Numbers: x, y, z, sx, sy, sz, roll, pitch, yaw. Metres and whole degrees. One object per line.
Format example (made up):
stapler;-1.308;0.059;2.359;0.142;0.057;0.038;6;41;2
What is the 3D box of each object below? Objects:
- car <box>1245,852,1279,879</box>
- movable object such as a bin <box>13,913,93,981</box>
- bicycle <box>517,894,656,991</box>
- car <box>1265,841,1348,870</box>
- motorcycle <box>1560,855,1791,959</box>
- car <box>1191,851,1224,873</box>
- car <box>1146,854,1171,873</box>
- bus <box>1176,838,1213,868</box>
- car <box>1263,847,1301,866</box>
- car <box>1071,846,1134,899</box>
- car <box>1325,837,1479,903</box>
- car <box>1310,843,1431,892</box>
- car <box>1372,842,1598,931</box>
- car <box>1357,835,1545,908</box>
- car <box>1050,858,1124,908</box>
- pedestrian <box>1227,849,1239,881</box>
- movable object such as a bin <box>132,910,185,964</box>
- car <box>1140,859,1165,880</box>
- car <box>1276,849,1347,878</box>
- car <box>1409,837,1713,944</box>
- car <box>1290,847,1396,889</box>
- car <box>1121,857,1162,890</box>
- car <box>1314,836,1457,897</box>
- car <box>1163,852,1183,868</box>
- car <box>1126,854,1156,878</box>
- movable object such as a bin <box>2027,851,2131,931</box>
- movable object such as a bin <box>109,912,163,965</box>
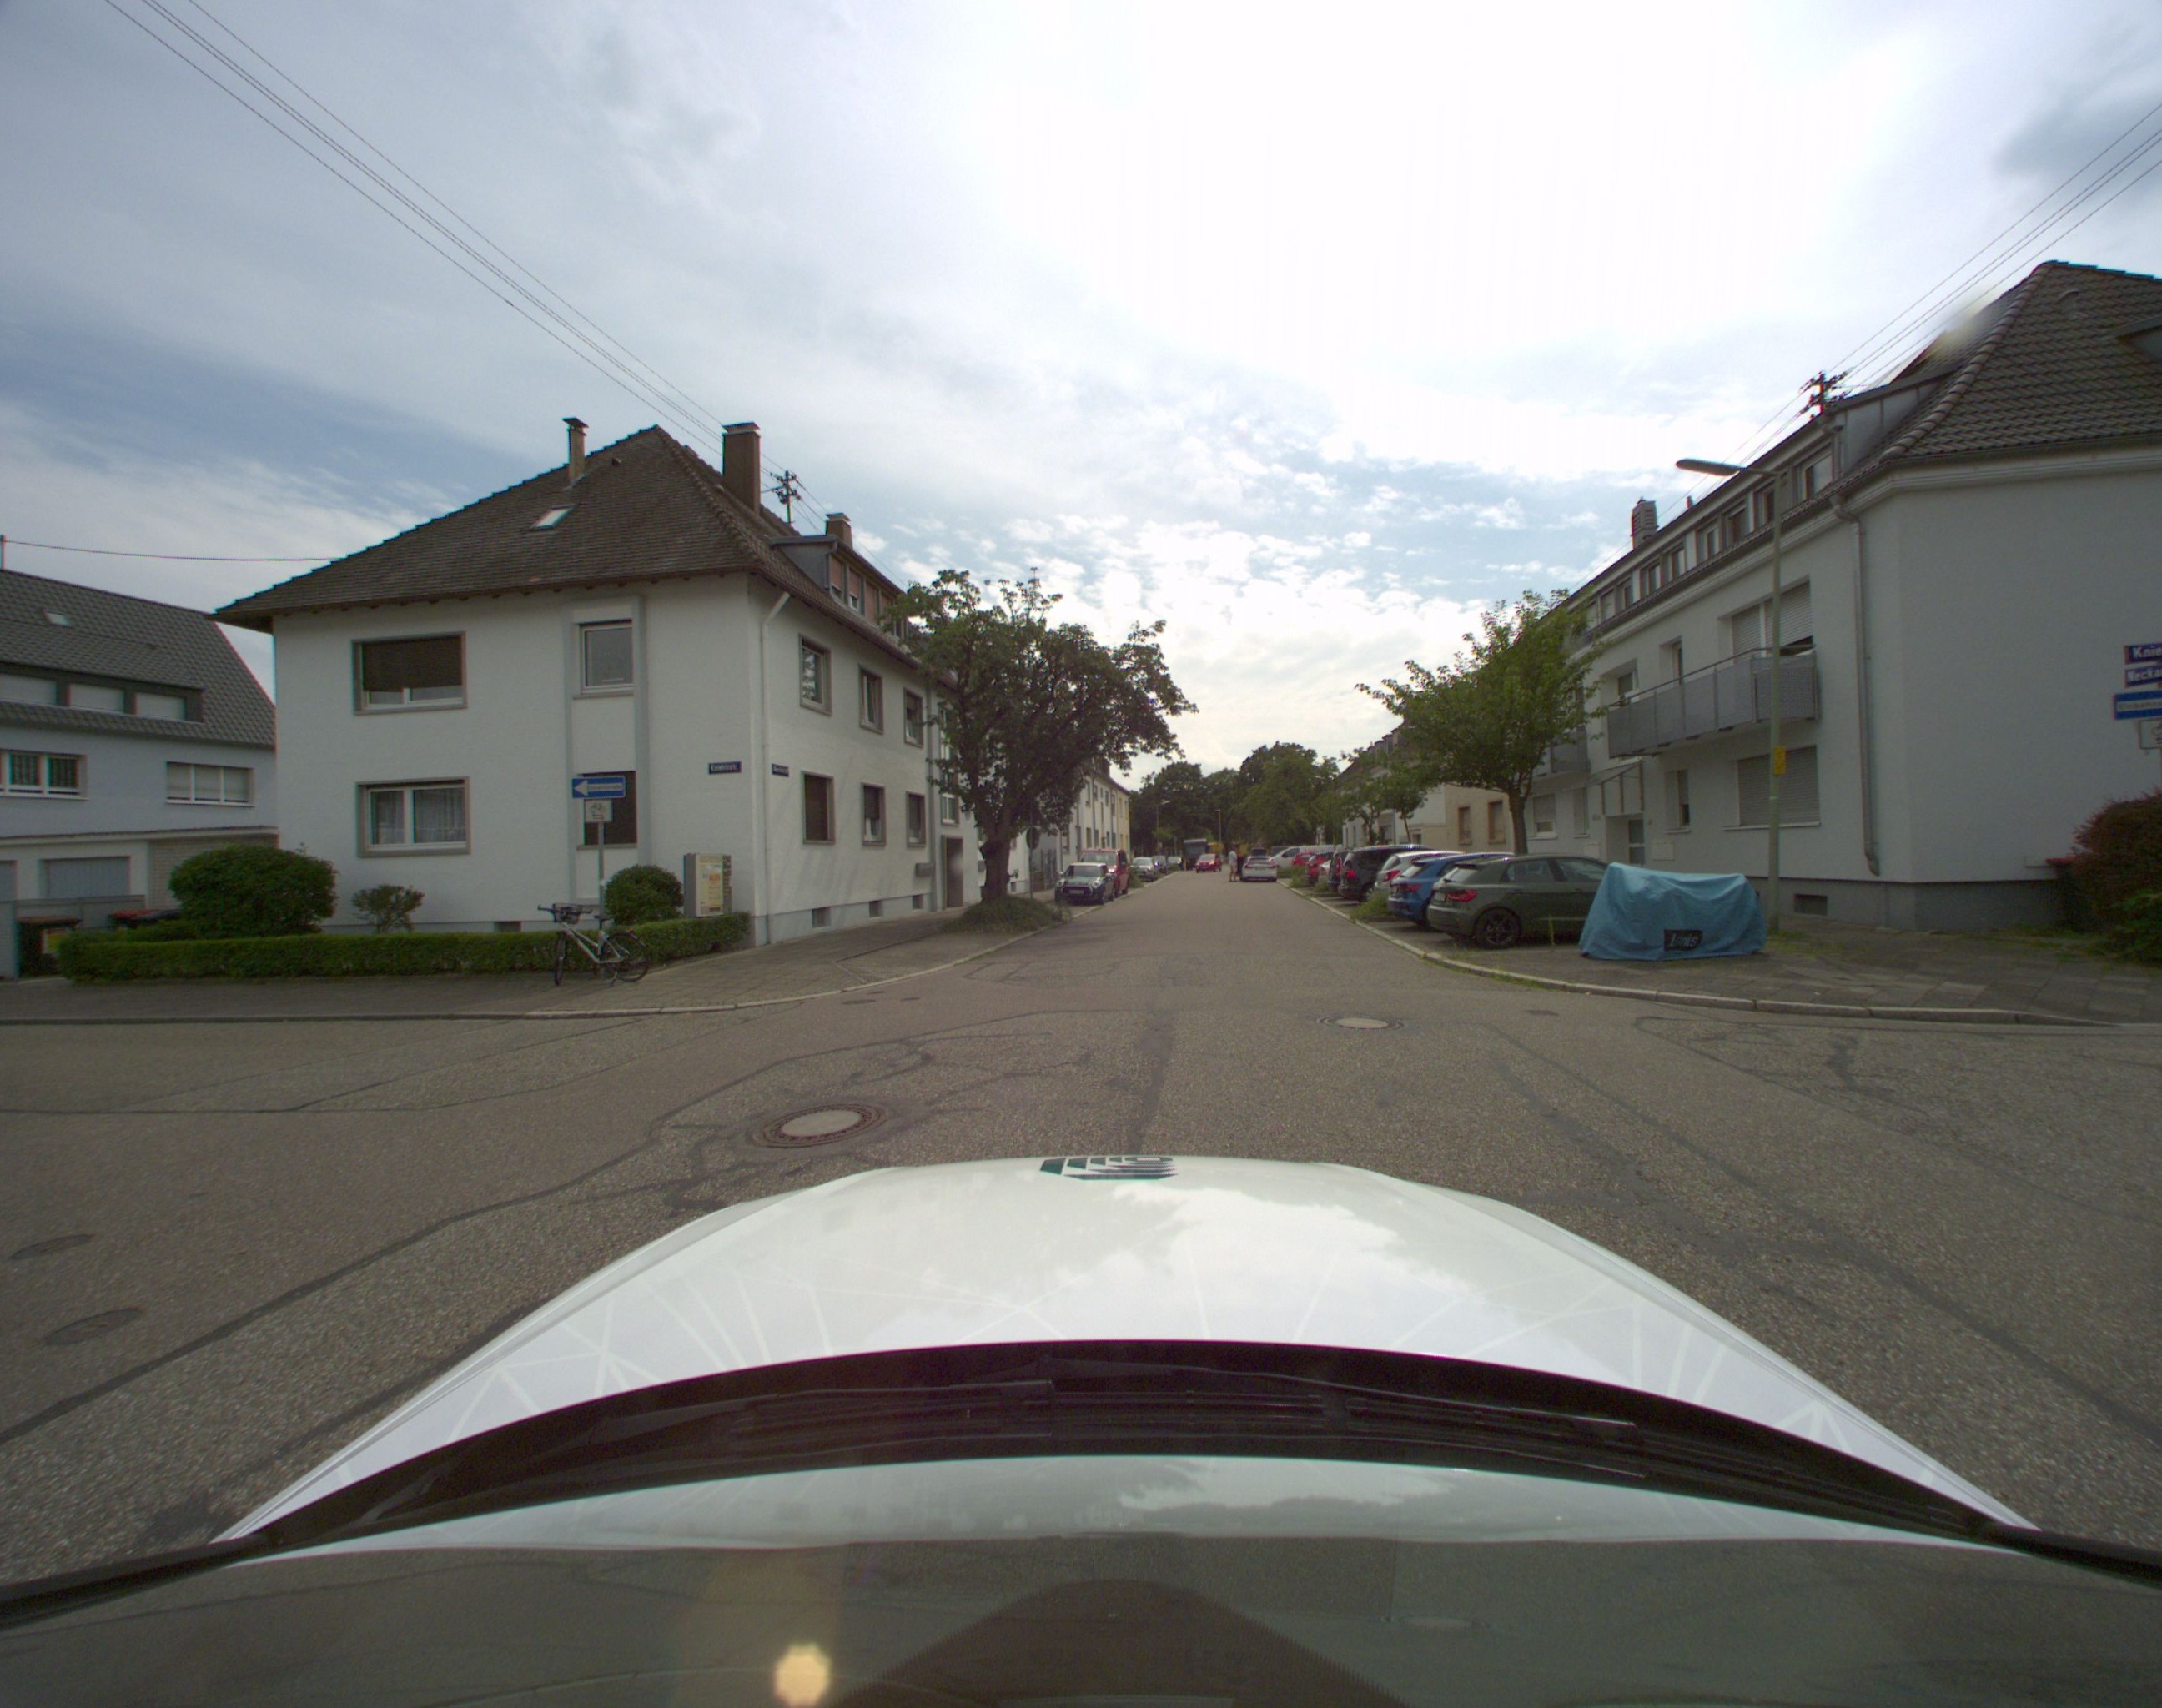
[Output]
car;9.939;0.605;44.866;1.676;1.354;3.838;-4;-1;11
movable object such as a bin;-18.653;1.676;14.787;0.747;1.137;0.583;-4;-1;10
bicycle;-6.746;1.201;11.126;1.625;1.179;0.436;-4;-1;5
car;14.537;0.096;52.756;4.947;1.518;1.772;-4;-1;8
motorcycle;7.529;0.657;10.426;2.181;1.210;0.942;-2;0;7
car;10.489;0.662;67.283;1.977;1.618;4.019;-4;-1;19
car;6.267;0.766;65.829;1.641;1.377;3.731;-4;-1;9
bus;11.709;-0.126;83.184;2.984;2.761;8.953;-4;-1;12
car;20.091;0.239;81.325;3.507;1.602;1.778;-4;-1;10
car;0.973;0.728;34.393;1.982;2.013;4.532;-2;0;9
car;8.979;0.446;23.086;3.724;1.564;1.778;-4;-1;10
car;10.795;0.508;30.635;3.963;1.518;1.727;-4;-1;9
car;7.565;0.603;15.550;3.496;1.412;1.563;-4;-1;10
car;9.225;0.445;20.599;3.963;1.518;1.727;-4;-1;9
car;0.295;0.984;29.095;1.751;1.554;3.744;-4;-1;13
pedestrian;8.302;0.580;44.568;0.518;1.704;0.446;-4;-1;13
movable object such as a bin;-17.867;1.603;15.779;0.502;0.973;0.456;-4;-1;11
car;5.046;1.083;56.992;1.530;1.301;3.729;-4;-1;7
car;14.189;0.574;50.350;3.963;1.518;1.727;-4;-1;9
car;7.410;0.562;12.957;3.724;1.365;1.778;-4;-1;10
car;10.853;0.585;33.978;3.963;1.438;1.727;-4;-1;9
car;3.028;0.953;40.423;1.641;1.461;3.561;-4;-1;9
car;9.680;0.397;26.170;3.962;1.618;1.872;-4;-1;10
car;9.586;0.590;84.522;1.611;1.502;4.012;-4;-1;11
car;3.881;0.765;52.041;1.642;1.377;3.729;-4;-1;7
movable object such as a bin;13.257;0.478;10.839;0.516;1.008;0.701;-2;0;8
movable object such as a bin;-18.437;1.645;15.892;0.502;0.973;0.456;-4;-1;11
